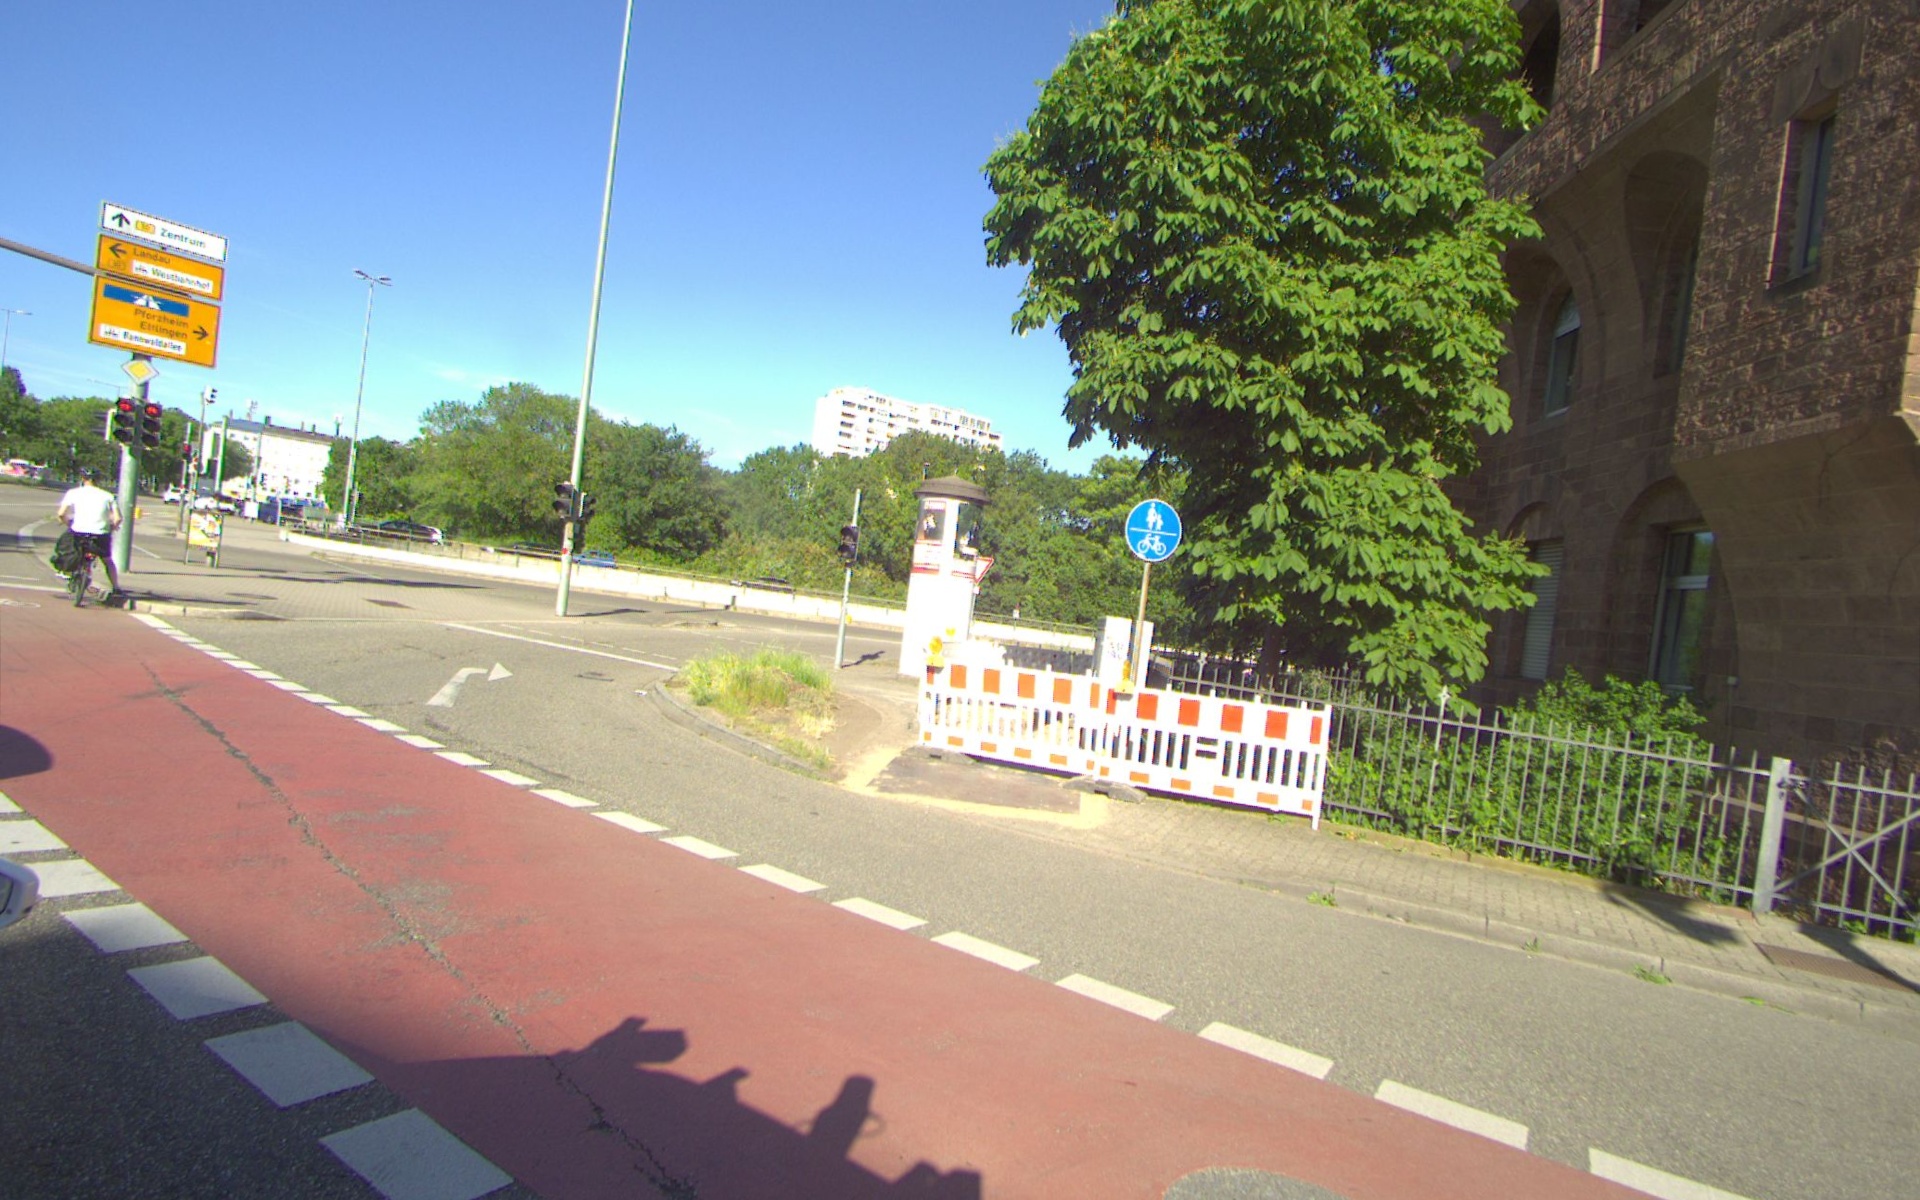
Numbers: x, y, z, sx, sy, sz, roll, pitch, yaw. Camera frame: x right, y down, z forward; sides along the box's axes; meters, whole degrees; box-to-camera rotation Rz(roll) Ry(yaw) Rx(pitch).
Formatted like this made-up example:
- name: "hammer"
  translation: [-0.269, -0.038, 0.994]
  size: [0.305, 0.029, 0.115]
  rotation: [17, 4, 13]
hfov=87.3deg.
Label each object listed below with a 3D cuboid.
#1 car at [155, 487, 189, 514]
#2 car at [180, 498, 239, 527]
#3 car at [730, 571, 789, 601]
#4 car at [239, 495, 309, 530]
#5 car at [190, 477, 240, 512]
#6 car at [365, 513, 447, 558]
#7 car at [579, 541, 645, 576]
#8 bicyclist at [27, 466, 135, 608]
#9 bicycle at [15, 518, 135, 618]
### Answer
- name: "car"
  translation: [-65.507, -8.230, 83.648]
  size: [1.983, 1.770, 3.962]
  rotation: [7, -2, -36]
- name: "car"
  translation: [-56.014, -6.551, 75.085]
  size: [3.933, 1.770, 1.997]
  rotation: [5, -2, 30]
- name: "car"
  translation: [-15.003, -1.061, 75.136]
  size: [3.946, 1.638, 1.719]
  rotation: [8, 1, -21]
- name: "car"
  translation: [-48.638, -6.206, 71.294]
  size: [4.802, 1.877, 2.016]
  rotation: [8, 1, 29]
- name: "car"
  translation: [-73.805, -10.394, 99.747]
  size: [2.226, 2.638, 4.873]
  rotation: [6, -2, -16]
- name: "car"
  translation: [-33.557, -3.884, 61.077]
  size: [3.943, 2.037, 1.992]
  rotation: [7, -2, -20]
- name: "car"
  translation: [-24.489, -2.879, 70.936]
  size: [4.197, 1.876, 2.013]
  rotation: [7, -2, -18]
- name: "bicyclist"
  translation: [-11.752, -0.842, 13.492]
  size: [0.795, 1.726, 1.075]
  rotation: [8, 1, -34]
- name: "bicycle"
  translation: [-11.810, -0.468, 13.503]
  size: [0.795, 1.124, 2.379]
  rotation: [8, 0, -34]
